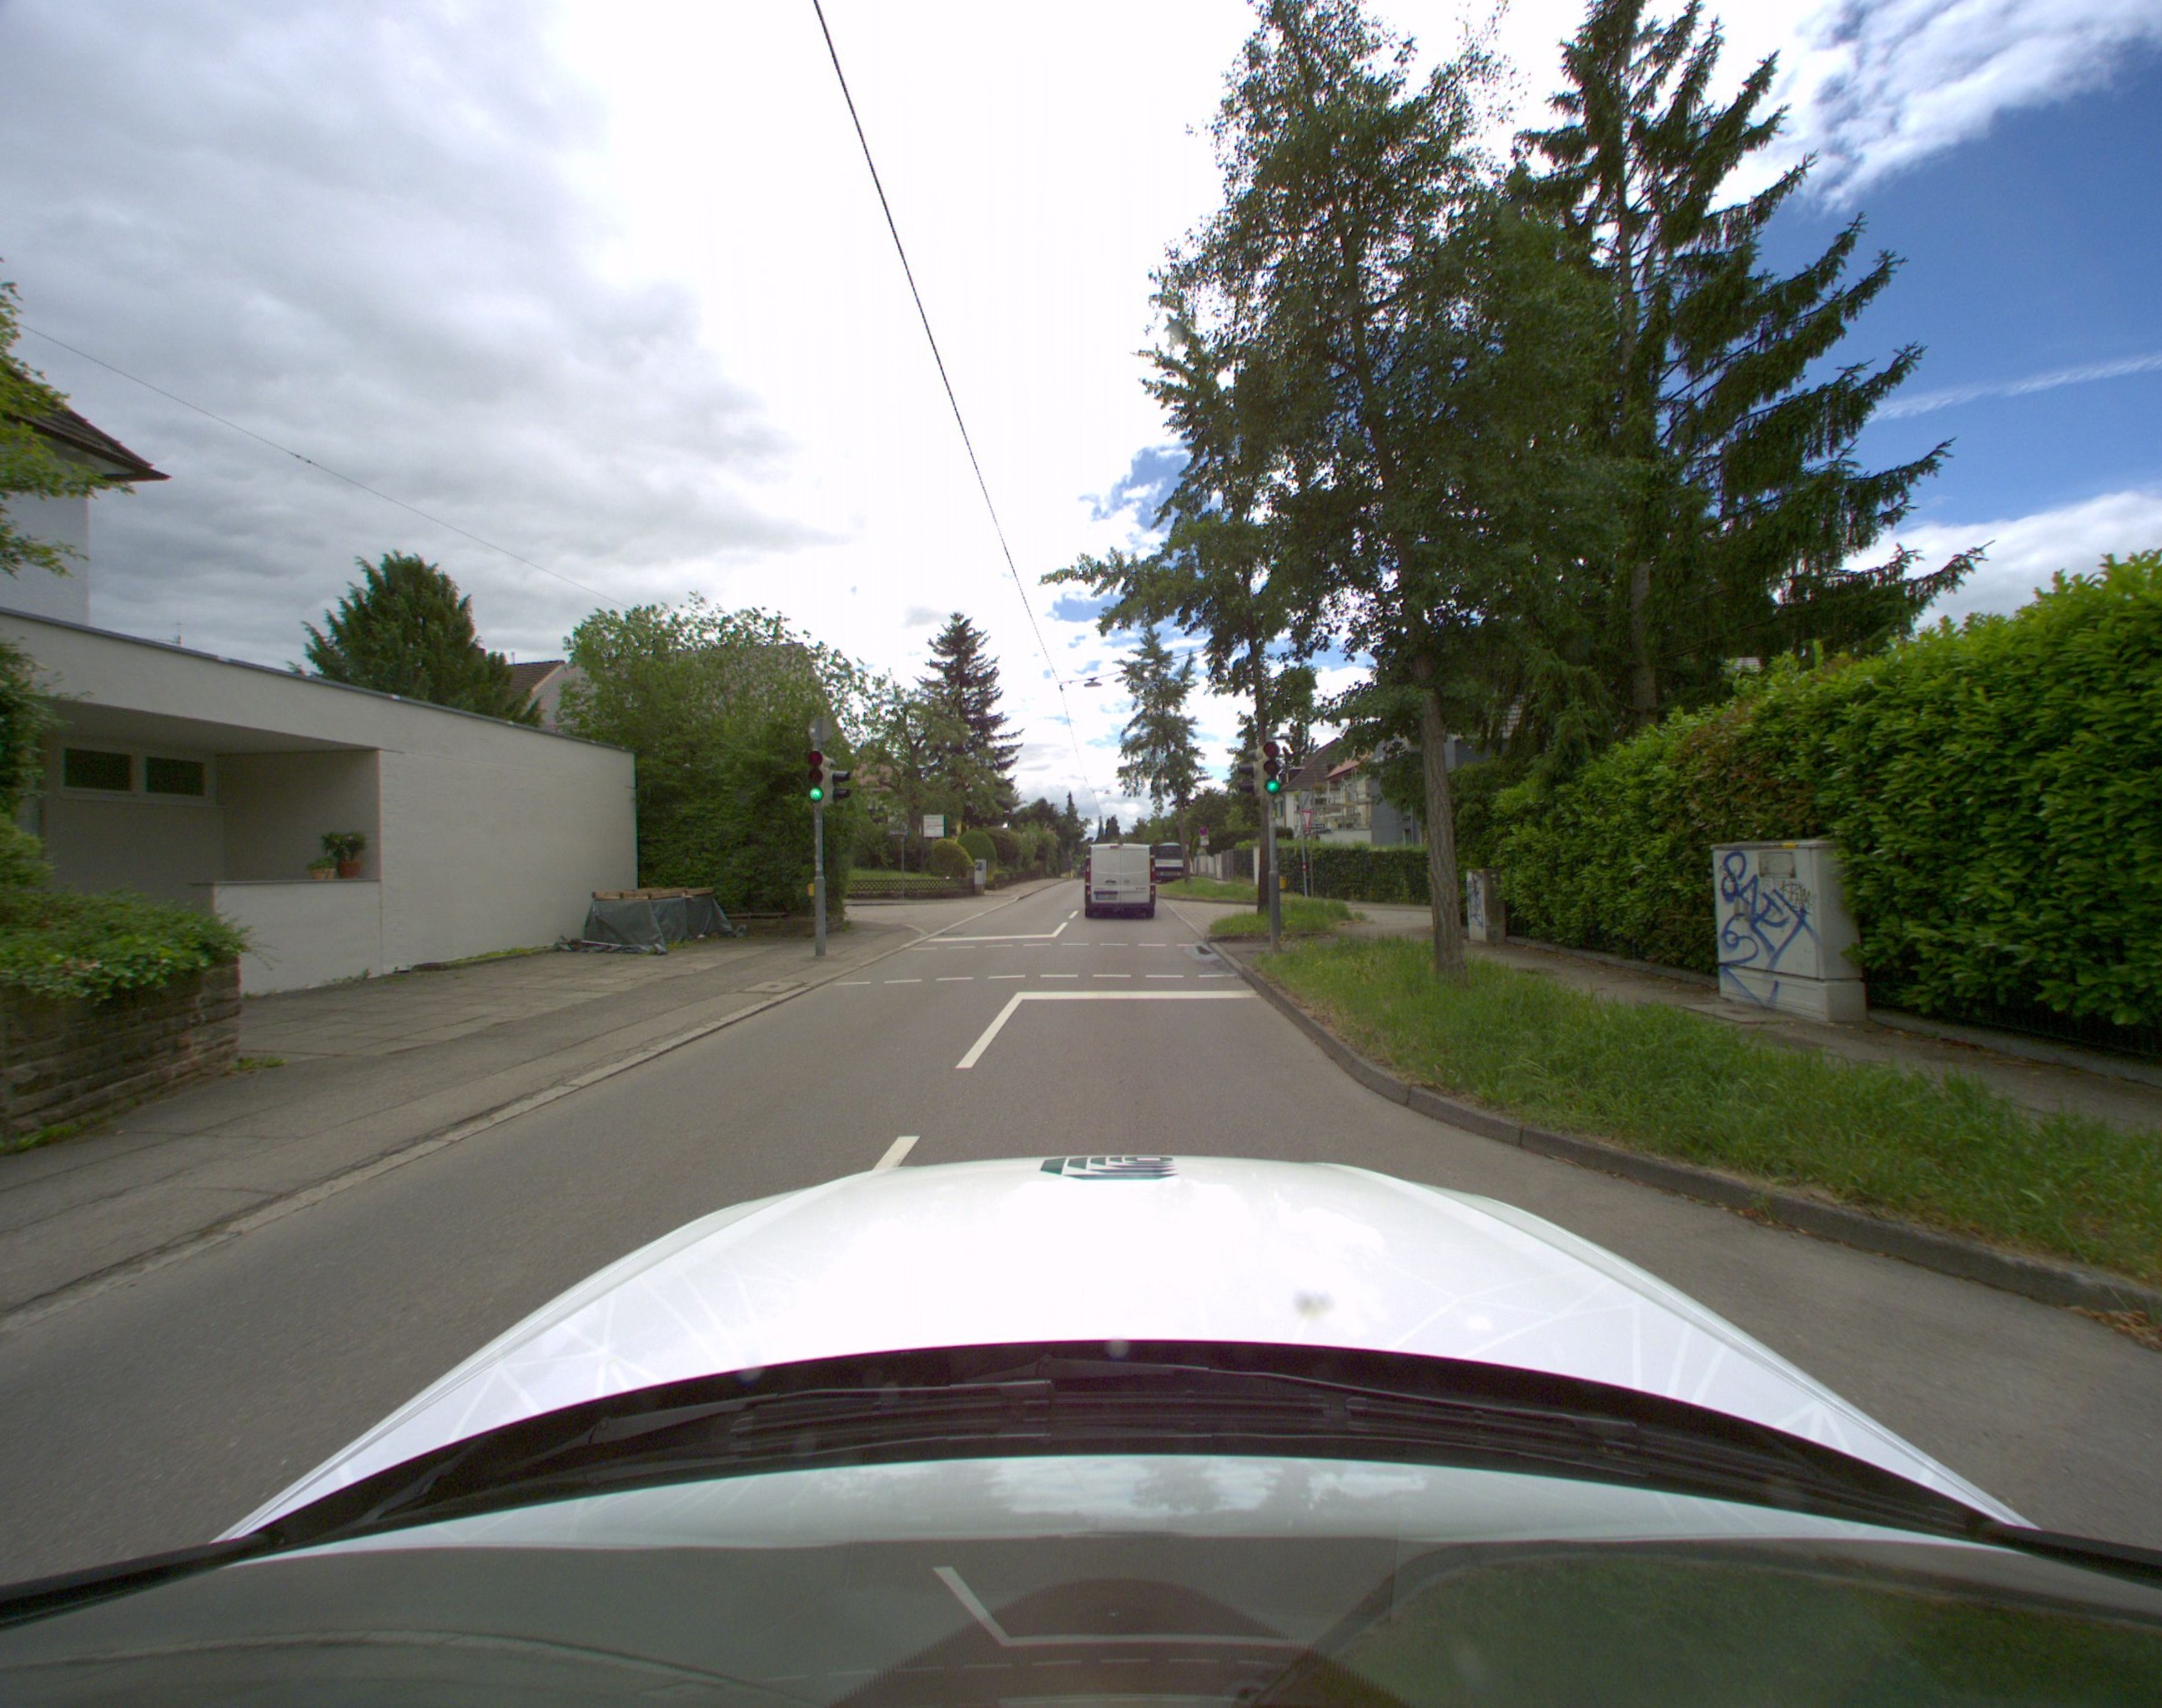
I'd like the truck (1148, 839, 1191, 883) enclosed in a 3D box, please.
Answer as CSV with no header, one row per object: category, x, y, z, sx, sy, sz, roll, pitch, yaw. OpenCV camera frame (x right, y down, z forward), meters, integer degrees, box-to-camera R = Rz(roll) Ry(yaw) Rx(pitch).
truck,5.330,0.428,50.113,2.178,2.472,7.435,0,-1,3

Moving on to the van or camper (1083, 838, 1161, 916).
van or camper,1.129,0.637,22.919,1.932,1.954,4.767,-1,-2,2
